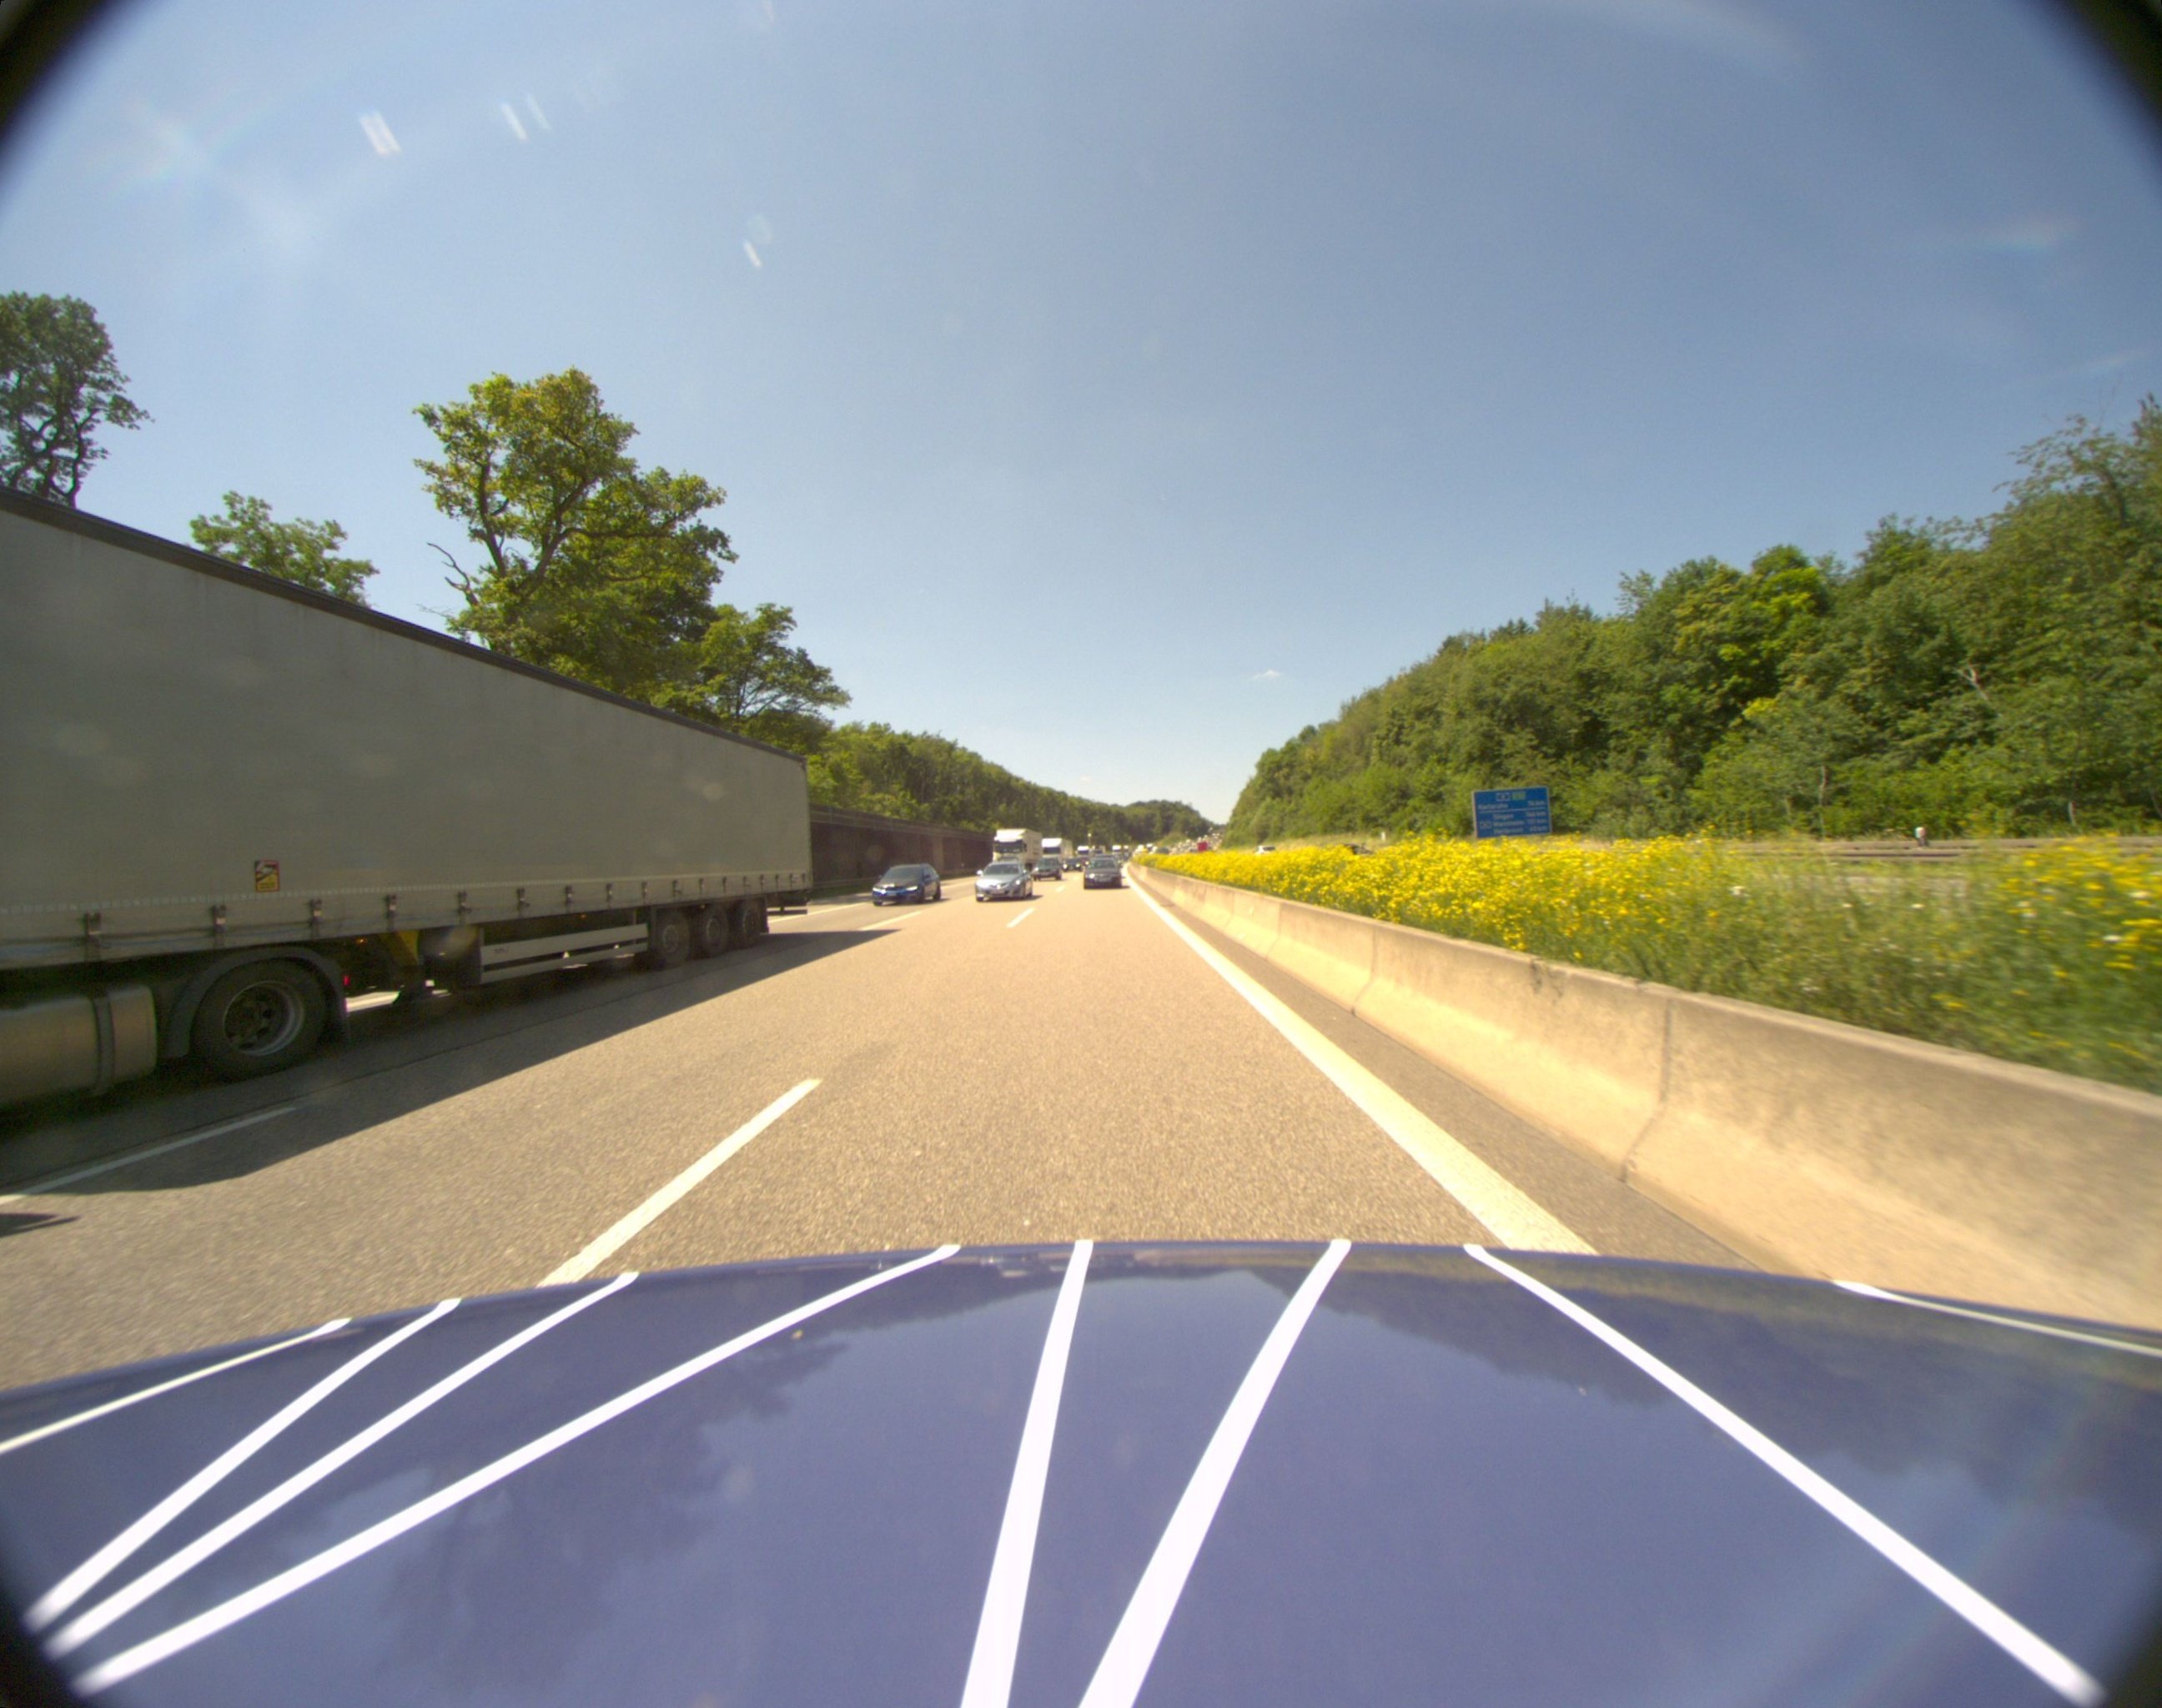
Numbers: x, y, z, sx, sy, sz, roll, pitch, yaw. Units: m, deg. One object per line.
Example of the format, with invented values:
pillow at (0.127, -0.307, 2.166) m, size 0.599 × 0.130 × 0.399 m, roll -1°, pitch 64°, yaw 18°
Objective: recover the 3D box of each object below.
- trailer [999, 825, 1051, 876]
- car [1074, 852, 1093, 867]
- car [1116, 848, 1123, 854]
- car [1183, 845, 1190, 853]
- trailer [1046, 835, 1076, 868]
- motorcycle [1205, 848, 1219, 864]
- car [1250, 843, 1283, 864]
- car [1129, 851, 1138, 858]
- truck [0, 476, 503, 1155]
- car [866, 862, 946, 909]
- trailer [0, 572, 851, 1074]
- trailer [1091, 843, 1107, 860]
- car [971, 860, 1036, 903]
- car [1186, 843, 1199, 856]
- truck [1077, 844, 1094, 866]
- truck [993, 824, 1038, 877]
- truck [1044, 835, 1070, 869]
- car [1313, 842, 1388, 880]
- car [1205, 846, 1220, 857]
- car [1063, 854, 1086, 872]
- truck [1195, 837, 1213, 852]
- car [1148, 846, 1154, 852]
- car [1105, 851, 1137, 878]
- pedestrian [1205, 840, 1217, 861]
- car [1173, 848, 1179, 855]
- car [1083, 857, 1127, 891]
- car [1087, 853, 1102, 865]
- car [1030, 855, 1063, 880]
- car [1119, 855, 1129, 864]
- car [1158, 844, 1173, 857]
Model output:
trailer at (-5.068, -0.340, 71.526) m, size 2.821 × 4.190 × 13.468 m, roll -3°, pitch 0°, yaw 4°
car at (0.302, 0.659, 92.540) m, size 1.998 × 1.641 × 4.000 m, roll -2°, pitch 0°, yaw 3°
car at (12.578, -0.987, 248.684) m, size 1.998 × 1.641 × 4.000 m, roll -2°, pitch 0°, yaw 3°
car at (34.789, -1.634, 250.004) m, size 1.998 × 2.385 × 4.001 m, roll -3°, pitch 0°, yaw 4°
trailer at (-2.573, -0.385, 102.913) m, size 2.541 × 4.149 × 10.180 m, roll -3°, pitch 0°, yaw 6°
motorcycle at (8.918, 0.146, 51.914) m, size 0.668 × 1.035 × 1.476 m, roll -2°, pitch 0°, yaw 1°
car at (16.802, -0.038, 68.925) m, size 1.886 × 1.755 × 4.322 m, roll -3°, pitch 0°, yaw 1°
car at (13.459, 0.200, 194.426) m, size 1.998 × 1.641 × 4.000 m, roll -2°, pitch 0°, yaw 3°
truck at (-7.744, -0.214, 5.496) m, size 2.604 × 4.067 × 5.552 m, roll -2°, pitch 1°, yaw 1°
car at (-6.482, 1.124, 28.662) m, size 1.860 × 1.484 × 4.177 m, roll -3°, pitch 0°, yaw 2°
trailer at (-7.569, -0.310, 13.106) m, size 2.604 × 4.067 × 13.591 m, roll -2°, pitch 1°, yaw 1°
trailer at (4.586, -0.614, 188.164) m, size 3.154 × 4.061 × 6.185 m, roll -3°, pitch 0°, yaw 7°
car at (-2.860, 0.989, 28.888) m, size 1.860 × 1.426 × 4.177 m, roll -3°, pitch 0°, yaw 2°
car at (24.345, -1.026, 166.416) m, size 2.161 × 2.608 × 5.976 m, roll -2°, pitch 1°, yaw 2°
truck at (0.968, 0.222, 156.340) m, size 2.853 × 4.382 × 5.241 m, roll -3°, pitch 0°, yaw 4°
truck at (-5.531, -0.304, 64.898) m, size 2.811 × 4.190 × 5.422 m, roll -3°, pitch 0°, yaw 4°
truck at (-3.068, -0.291, 98.253) m, size 2.544 × 4.150 × 4.747 m, roll -3°, pitch 0°, yaw 6°
car at (11.623, 0.279, 33.067) m, size 1.809 × 1.480 × 4.000 m, roll -2°, pitch 0°, yaw 1°
car at (20.739, -0.392, 120.228) m, size 1.780 × 1.619 × 4.118 m, roll -2°, pitch 0°, yaw 3°
car at (-0.640, 0.873, 77.863) m, size 1.998 × 1.641 × 4.001 m, roll -2°, pitch 0°, yaw 4°
truck at (33.158, -2.520, 205.588) m, size 3.929 × 3.697 × 16.747 m, roll -2°, pitch 0°, yaw 7°
car at (22.626, -1.607, 245.091) m, size 1.998 × 2.002 × 4.002 m, roll -3°, pitch 0°, yaw 6°
car at (2.689, 0.698, 51.462) m, size 1.998 × 1.641 × 4.000 m, roll -2°, pitch 1°, yaw 2°
pedestrian at (8.899, -0.245, 51.907) m, size 0.663 × 1.357 × 0.532 m, roll -2°, pitch 1°, yaw 1°
car at (31.238, -0.873, 249.736) m, size 1.998 × 2.385 × 4.001 m, roll -2°, pitch 0°, yaw 5°
car at (1.086, 0.901, 35.940) m, size 1.907 × 1.410 × 4.000 m, roll -3°, pitch 0°, yaw 1°
car at (1.932, 0.727, 109.870) m, size 1.998 × 1.641 × 4.000 m, roll -2°, pitch 0°, yaw 3°
car at (-2.284, 0.892, 51.604) m, size 1.907 × 1.550 × 4.000 m, roll -3°, pitch 0°, yaw 1°
car at (9.264, 1.180, 163.026) m, size 1.998 × 1.641 × 4.000 m, roll -2°, pitch 0°, yaw 3°
car at (14.263, -0.632, 128.509) m, size 2.328 × 2.002 × 6.185 m, roll -2°, pitch 0°, yaw 4°
